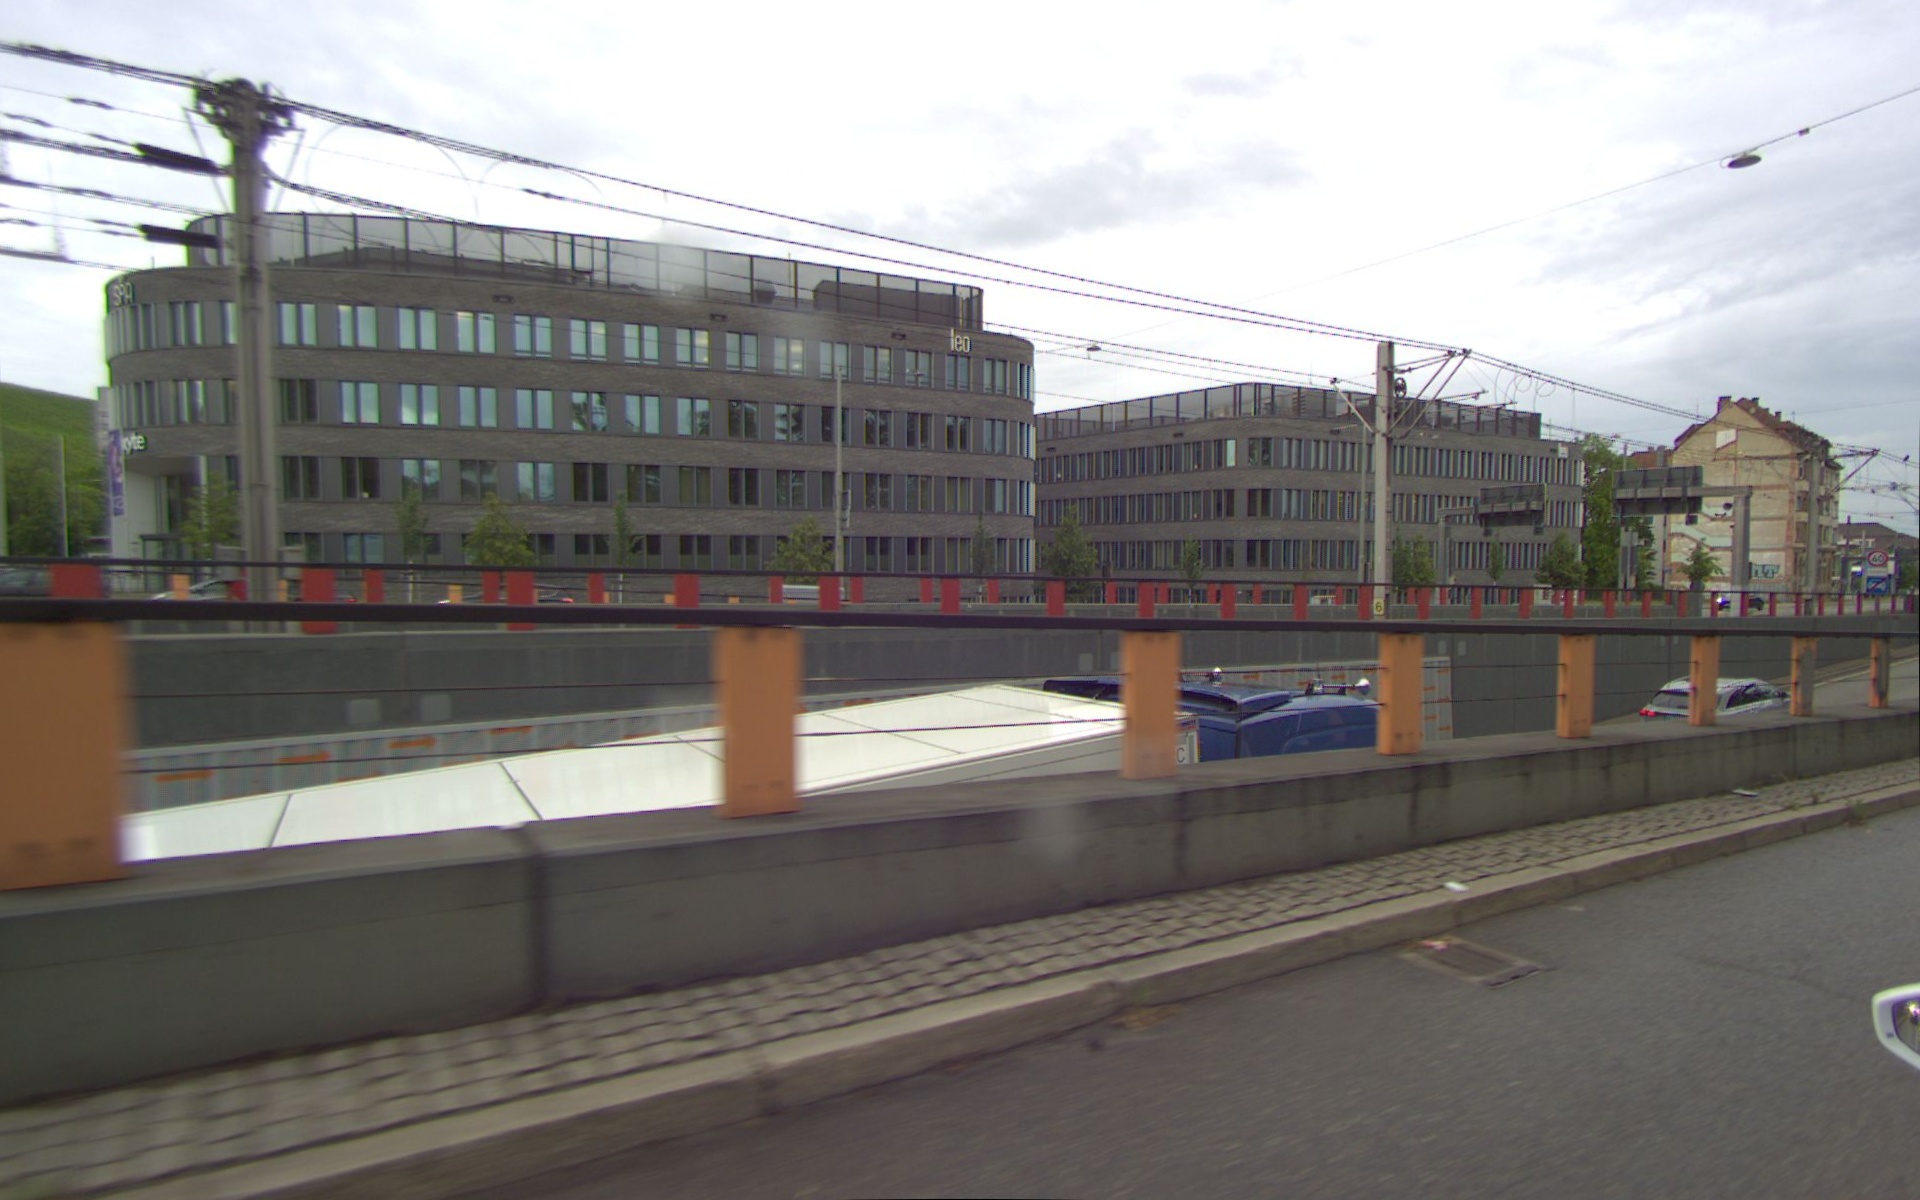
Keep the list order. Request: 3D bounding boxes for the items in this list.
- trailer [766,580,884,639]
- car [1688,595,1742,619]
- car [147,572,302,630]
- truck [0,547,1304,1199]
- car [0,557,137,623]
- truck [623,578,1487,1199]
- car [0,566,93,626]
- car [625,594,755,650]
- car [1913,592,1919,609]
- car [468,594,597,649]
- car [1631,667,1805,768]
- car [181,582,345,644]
[{"bbox_3d":[-5.367,0.393,40.049,4.230,2.101,1.814,3,0,-33],"label":"trailer"},{"bbox_3d":[54.266,0.473,72.187,3.786,1.606,1.816,-1,2,-30],"label":"car"},{"bbox_3d":[-23.468,0.037,32.228,3.787,1.606,1.816,2,3,-30],"label":"car"},{"bbox_3d":[-3.672,1.927,5.108,12.882,4.253,2.748,0,1,-32],"label":"truck"},{"bbox_3d":[-25.413,-0.299,27.768,3.787,1.606,1.816,4,0,-30],"label":"car"},{"bbox_3d":[1.067,1.986,8.085,6.711,4.253,2.746,-1,1,-33],"label":"truck"},{"bbox_3d":[-28.160,-0.171,29.457,3.787,1.606,1.816,4,0,-30],"label":"car"},{"bbox_3d":[-9.912,0.832,36.956,4.230,1.772,1.814,4,0,-33],"label":"car"},{"bbox_3d":[125.525,0.057,130.513,5.069,2.146,1.976,1,2,-41],"label":"car"},{"bbox_3d":[-14.551,0.729,34.218,3.787,1.606,1.816,4,0,-30],"label":"car"},{"bbox_3d":[16.694,2.481,22.064,4.048,1.586,1.810,-4,2,-34],"label":"car"},{"bbox_3d":[-20.720,0.398,30.074,3.787,1.606,1.816,4,0,-30],"label":"car"}]
